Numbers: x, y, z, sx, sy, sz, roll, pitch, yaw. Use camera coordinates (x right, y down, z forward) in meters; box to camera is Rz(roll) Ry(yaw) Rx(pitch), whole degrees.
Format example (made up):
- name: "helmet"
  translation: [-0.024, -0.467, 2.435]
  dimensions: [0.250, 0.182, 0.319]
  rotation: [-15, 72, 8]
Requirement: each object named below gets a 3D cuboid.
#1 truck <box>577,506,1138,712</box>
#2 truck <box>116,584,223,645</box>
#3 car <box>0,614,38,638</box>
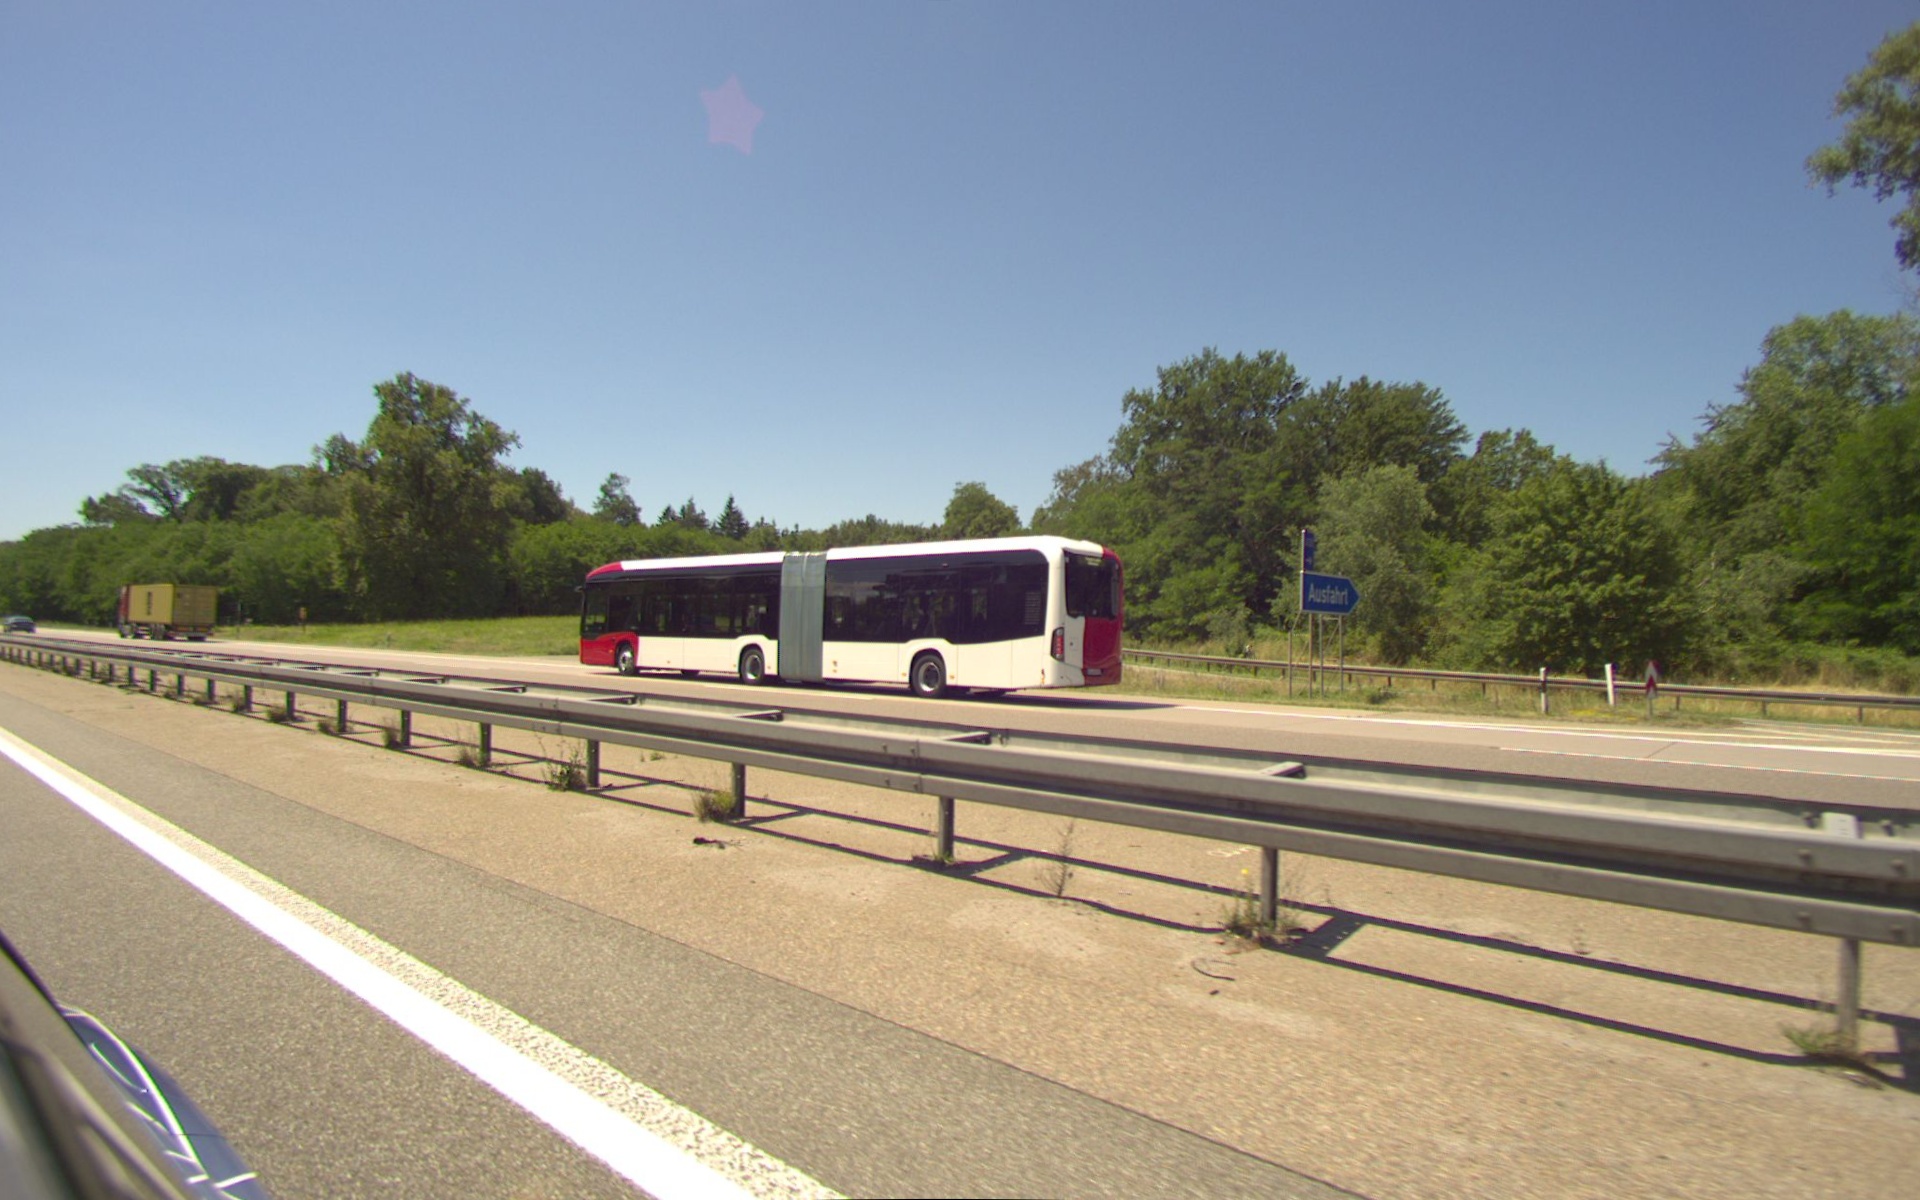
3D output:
- name: "truck"
  translation: [-3.879, 0.301, 26.015]
  dimensions: [17.534, 3.905, 3.052]
  rotation: [-1, -2, 40]
- name: "truck"
  translation: [-55.485, 0.980, 70.773]
  dimensions: [15.615, 3.905, 3.051]
  rotation: [-1, 0, 41]
- name: "car"
  translation: [-81.740, 2.263, 87.871]
  dimensions: [3.998, 2.029, 1.973]
  rotation: [-1, -2, 41]
